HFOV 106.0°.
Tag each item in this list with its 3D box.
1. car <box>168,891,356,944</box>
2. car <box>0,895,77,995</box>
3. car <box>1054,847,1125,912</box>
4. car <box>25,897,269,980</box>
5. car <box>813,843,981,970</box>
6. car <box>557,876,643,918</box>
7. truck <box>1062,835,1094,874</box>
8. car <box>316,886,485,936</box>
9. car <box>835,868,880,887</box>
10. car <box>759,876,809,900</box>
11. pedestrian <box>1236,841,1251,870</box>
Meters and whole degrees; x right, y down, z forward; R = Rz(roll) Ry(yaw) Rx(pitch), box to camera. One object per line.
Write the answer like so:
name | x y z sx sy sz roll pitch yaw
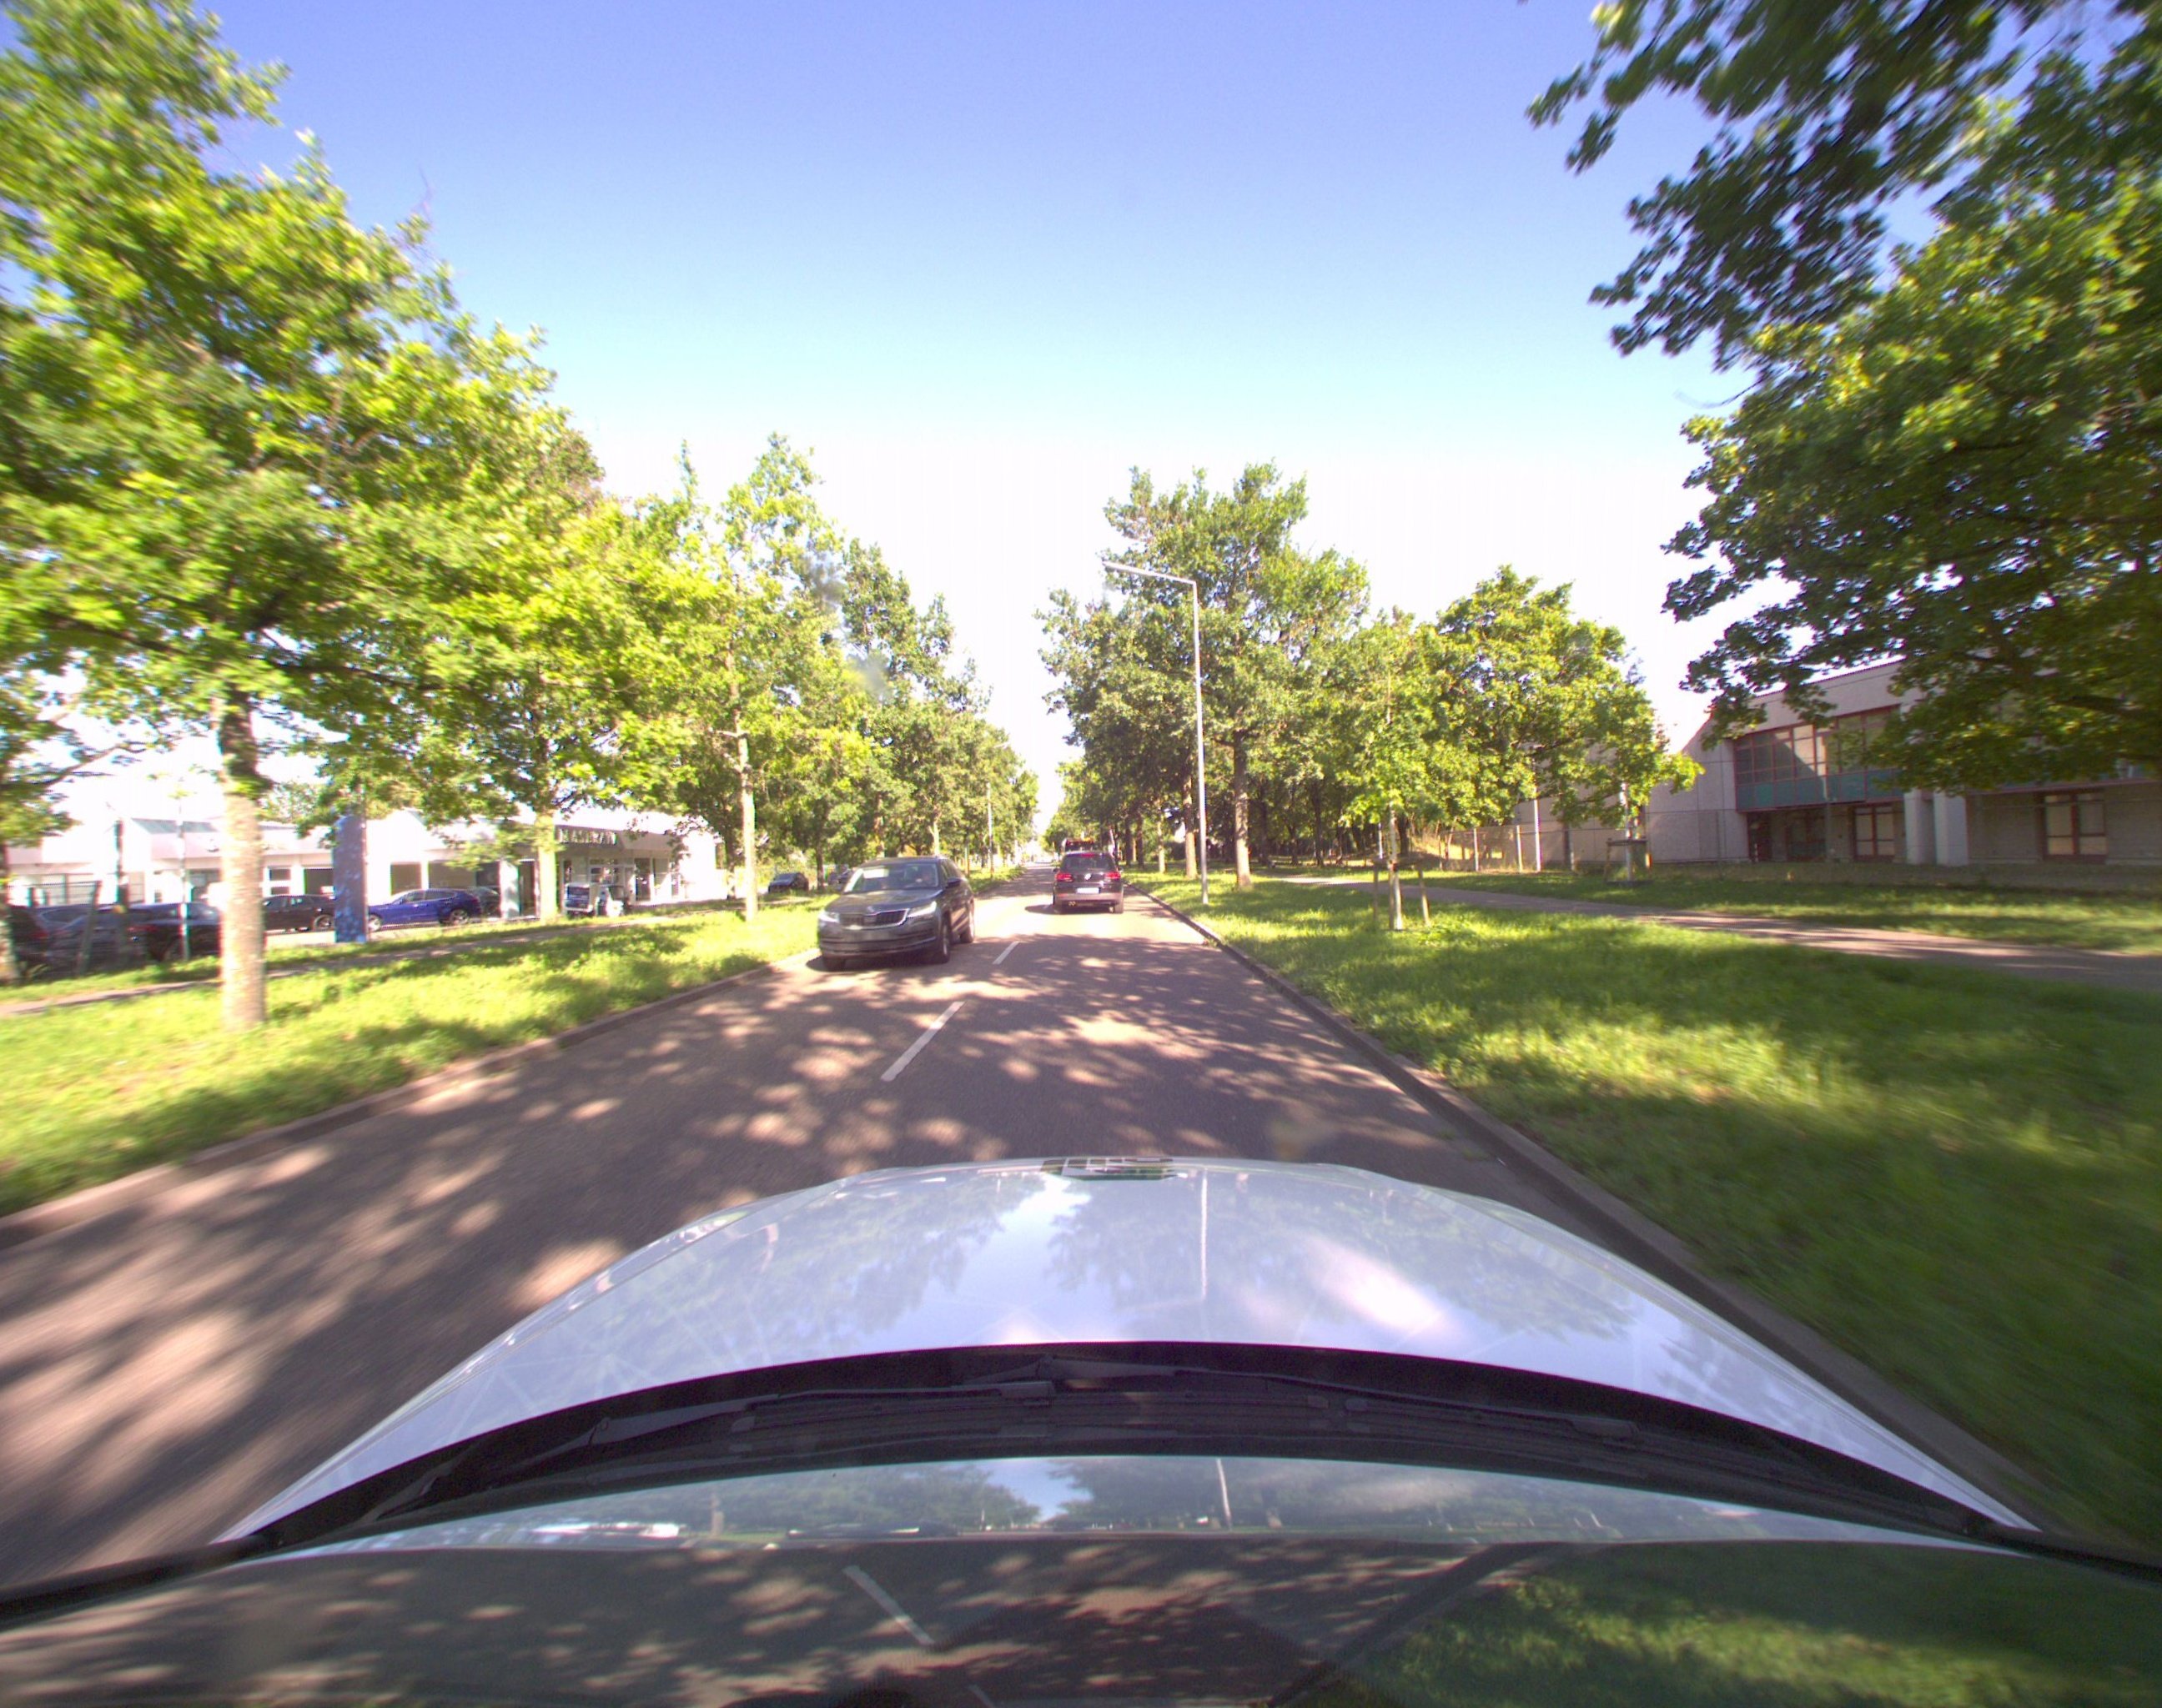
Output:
car | -33.449 2.531 33.468 1.975 1.660 5.040 -1 1 27
car | -21.425 1.677 14.793 3.970 1.742 2.001 -1 -1 3
car | 0.146 0.656 22.494 1.778 1.633 3.996 0 -1 -2
car | -23.816 2.055 21.085 1.998 1.675 4.475 0 -1 -16
car | -2.840 0.760 13.558 1.762 1.672 4.198 -3 -1 0
car | -18.427 1.654 31.258 2.547 1.470 1.432 -2 0 16
truck | -0.339 0.052 73.714 2.506 3.244 8.144 -2 0 -2
car | -29.215 2.359 35.146 1.974 1.660 5.294 -1 1 38
car | -21.796 2.249 79.556 3.985 1.802 1.994 0 -1 -9
car | -22.233 2.528 61.148 1.988 1.598 5.011 0 -1 -2
pedestrian | 9.561 0.092 47.998 0.711 1.631 0.612 -4 0 16
